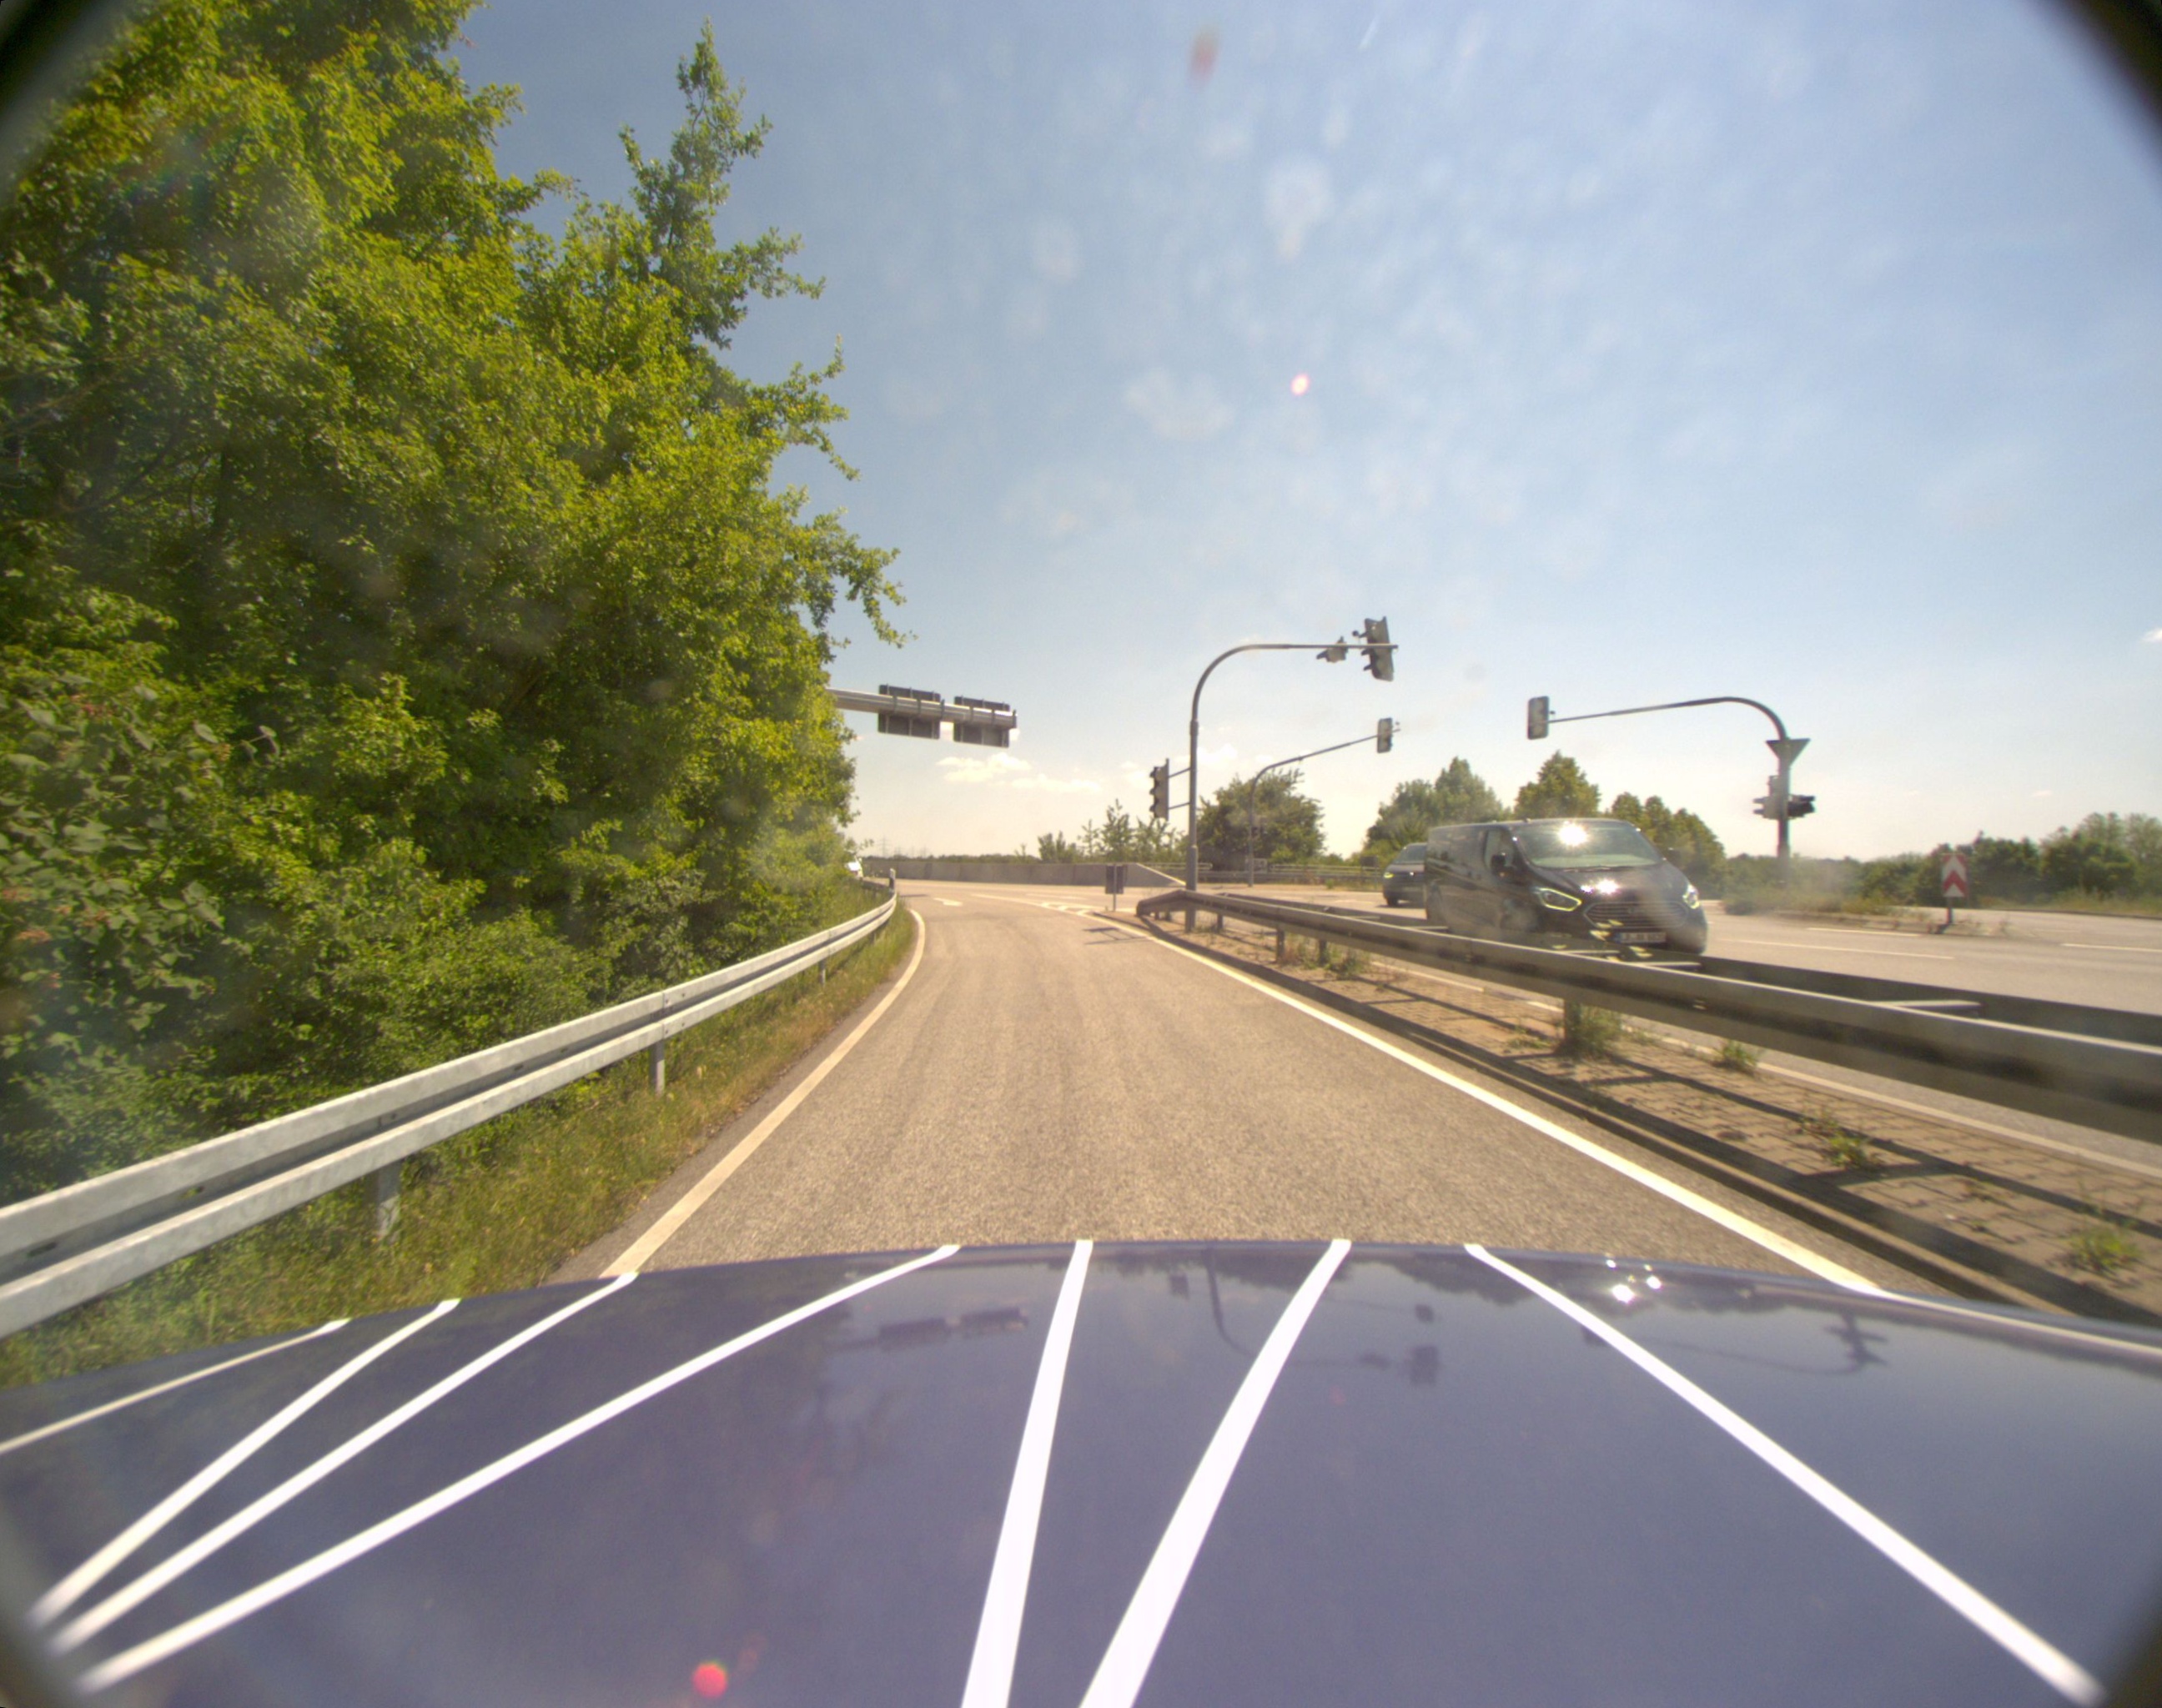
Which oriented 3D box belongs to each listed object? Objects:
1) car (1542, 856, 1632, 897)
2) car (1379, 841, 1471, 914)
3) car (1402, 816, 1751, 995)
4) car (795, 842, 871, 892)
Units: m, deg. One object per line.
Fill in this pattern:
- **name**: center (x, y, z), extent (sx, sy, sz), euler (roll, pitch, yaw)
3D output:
- **car**: center (20.694, 0.876, 31.049), extent (4.007, 1.520, 1.790), euler (-1, 0, -36)
- **car**: center (10.372, 0.648, 22.725), extent (1.939, 1.908, 4.542), euler (2, 0, 31)
- **car**: center (6.512, 0.558, 10.976), extent (2.123, 1.926, 5.414), euler (-1, 0, 8)
- **car**: center (-12.792, 0.568, 38.877), extent (2.035, 2.074, 5.853), euler (-1, 4, -36)
